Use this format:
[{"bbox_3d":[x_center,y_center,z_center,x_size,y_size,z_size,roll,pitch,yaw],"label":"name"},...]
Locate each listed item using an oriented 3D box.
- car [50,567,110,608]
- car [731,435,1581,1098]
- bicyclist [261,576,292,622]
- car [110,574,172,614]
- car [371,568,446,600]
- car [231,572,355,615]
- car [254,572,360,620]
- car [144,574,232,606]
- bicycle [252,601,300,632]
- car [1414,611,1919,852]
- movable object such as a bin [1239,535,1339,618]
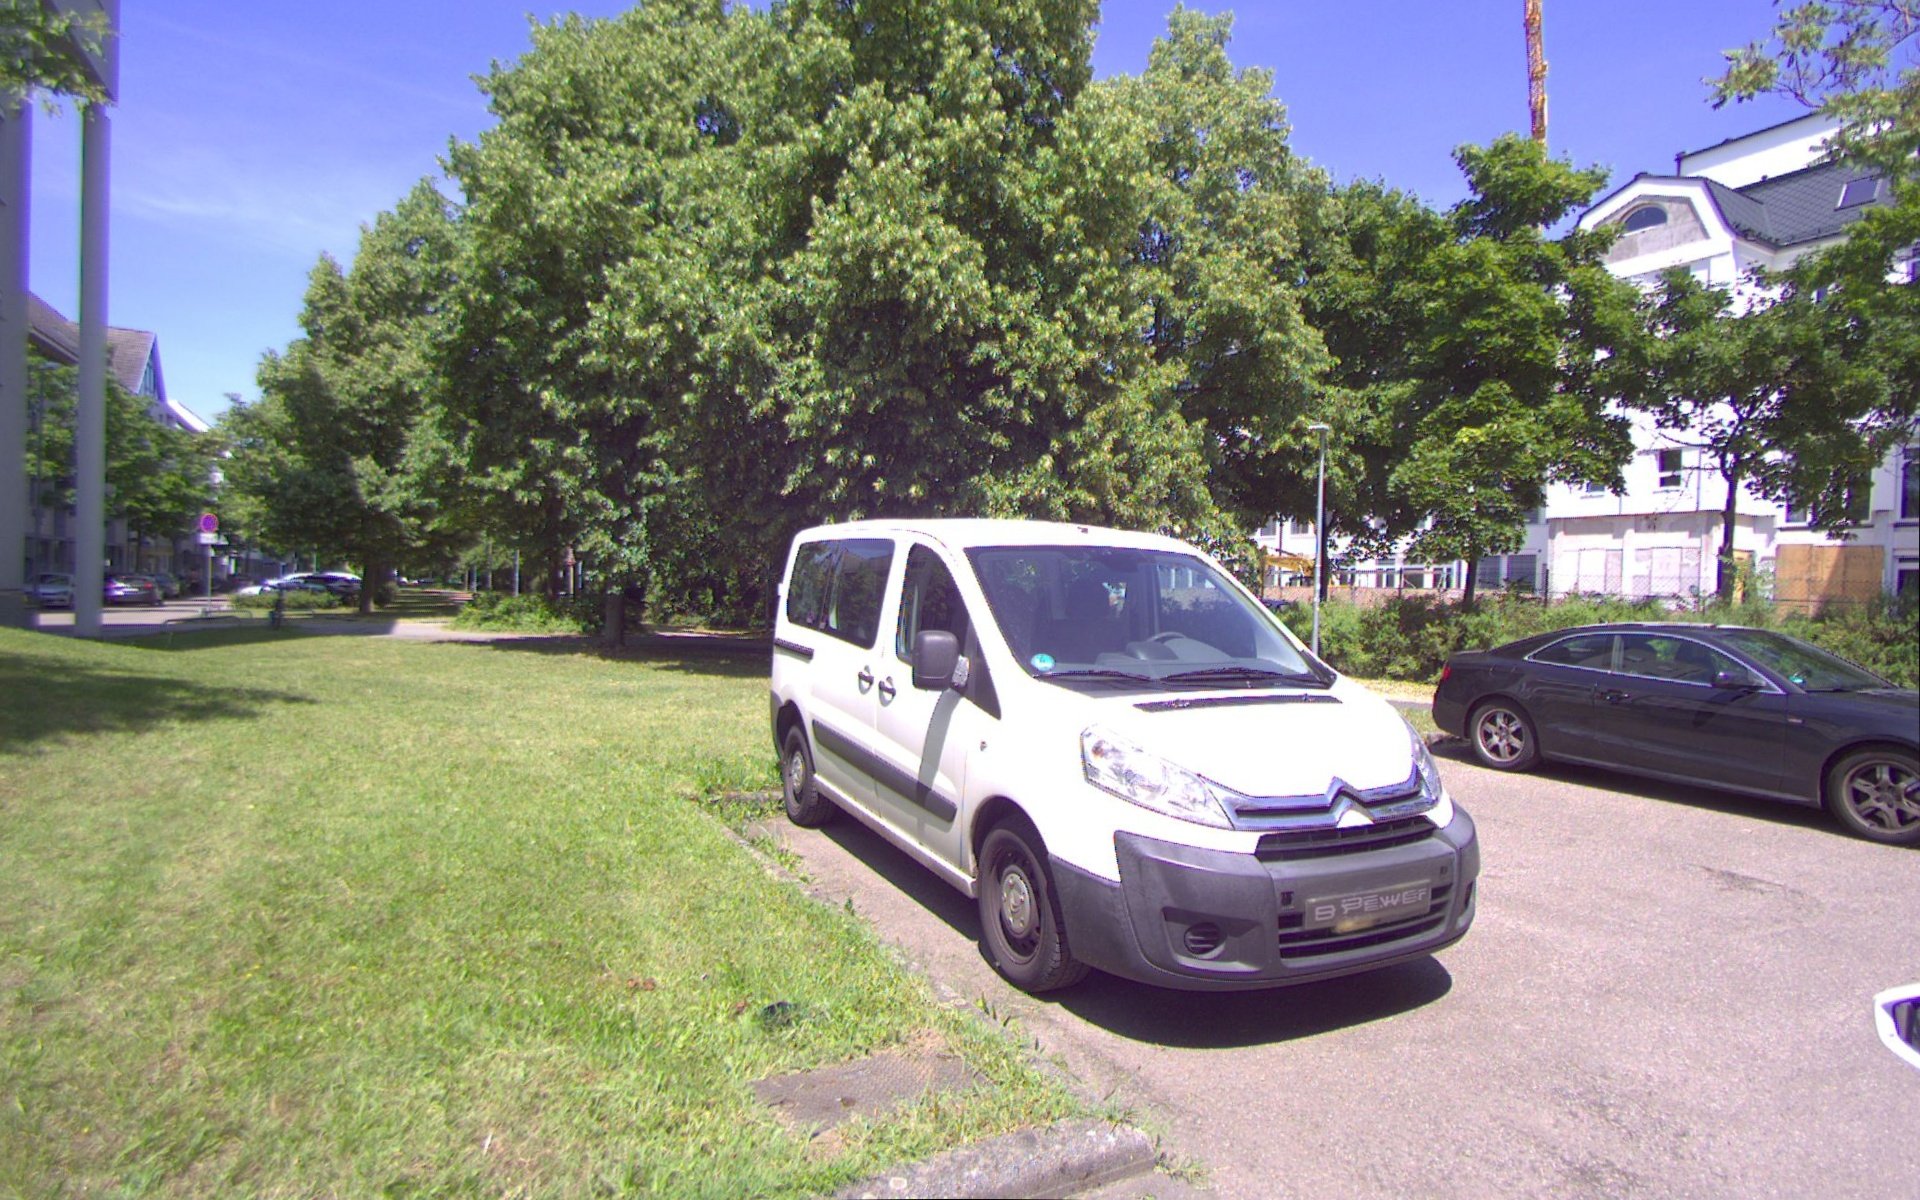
[{"bbox_3d":[-38.320,-0.550,43.695,1.796,1.624,3.844,3,0,-43],"label":"car"},{"bbox_3d":[0.355,0.479,5.526,2.041,1.908,4.830,3,0,-26],"label":"car"},{"bbox_3d":[-16.166,-0.026,23.763,0.511,1.059,0.519,-1,1,-27],"label":"bicyclist"},{"bbox_3d":[-36.102,-0.284,44.235,1.796,1.624,3.844,3,0,-43],"label":"car"},{"bbox_3d":[-33.995,-0.965,61.958,3.955,1.791,1.815,3,0,-31],"label":"car"},{"bbox_3d":[-28.489,-0.260,43.096,4.292,1.631,1.917,3,0,-31],"label":"car"},{"bbox_3d":[-30.128,-0.180,46.480,3.955,2.040,1.983,3,0,-31],"label":"car"},{"bbox_3d":[-44.513,-0.560,58.011,3.850,1.652,1.522,3,0,-31],"label":"car"},{"bbox_3d":[-16.171,0.373,23.769,0.725,0.650,1.605,-1,2,-27],"label":"bicycle"},{"bbox_3d":[6.244,0.889,8.114,1.997,1.398,4.414,3,0,-26],"label":"car"},{"bbox_3d":[18.777,-1.321,57.685,1.973,4.430,5.688,2,0,-25],"label":"movable object such as a bin"}]
